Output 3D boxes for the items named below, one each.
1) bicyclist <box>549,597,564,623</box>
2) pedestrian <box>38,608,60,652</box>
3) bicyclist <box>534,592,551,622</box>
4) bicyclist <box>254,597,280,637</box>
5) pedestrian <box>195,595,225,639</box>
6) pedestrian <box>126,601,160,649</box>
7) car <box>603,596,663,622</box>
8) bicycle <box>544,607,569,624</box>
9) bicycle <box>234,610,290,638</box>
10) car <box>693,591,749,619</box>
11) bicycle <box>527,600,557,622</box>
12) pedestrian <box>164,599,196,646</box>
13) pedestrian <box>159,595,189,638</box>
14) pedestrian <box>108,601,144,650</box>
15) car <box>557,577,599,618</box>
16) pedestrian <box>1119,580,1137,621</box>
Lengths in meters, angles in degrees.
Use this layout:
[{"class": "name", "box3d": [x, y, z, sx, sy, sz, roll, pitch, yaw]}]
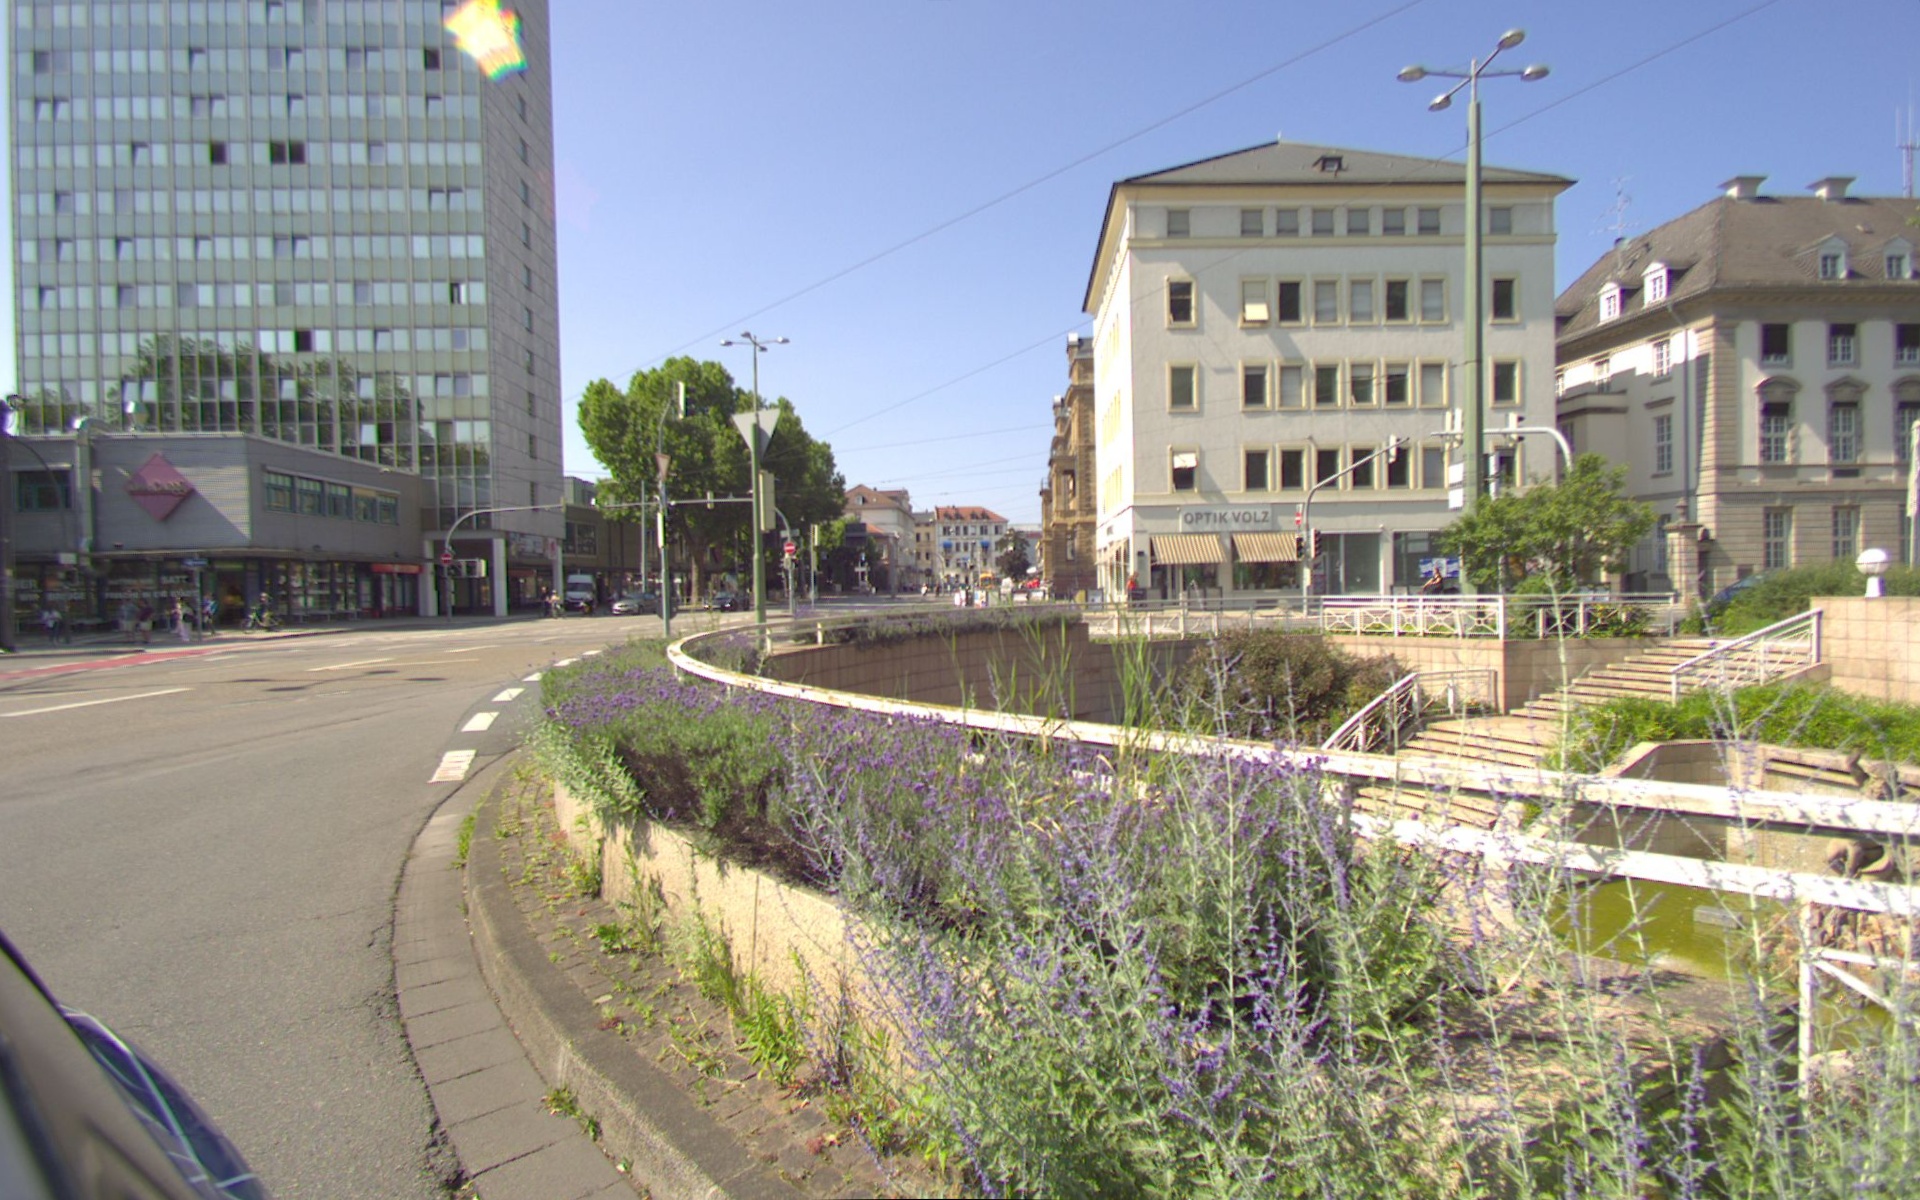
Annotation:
[{"class": "bicyclist", "box3d": [-23.996, 0.590, 60.135, 0.576, 1.538, 0.683, 0, 1, 7]}, {"class": "pedestrian", "box3d": [-35.367, 1.155, 39.297, 0.590, 1.650, 0.567, -1, 0, -38]}, {"class": "bicyclist", "box3d": [-25.498, 0.411, 61.822, 0.690, 1.781, 0.681, 0, 1, 14]}, {"class": "bicyclist", "box3d": [-29.870, 0.726, 43.618, 0.581, 1.700, 0.678, -1, 1, 27]}, {"class": "pedestrian", "box3d": [-31.896, 0.707, 43.043, 0.668, 1.850, 0.816, -1, 0, 27]}, {"class": "pedestrian", "box3d": [-31.860, 0.977, 39.485, 0.661, 1.850, 0.824, -1, 0, -4]}, {"class": "car", "box3d": [-20.270, 0.520, 62.957, 1.862, 1.471, 4.152, -1, 1, 9]}, {"class": "bicycle", "box3d": [-23.995, 0.916, 60.182, 0.586, 0.889, 1.807, 0, 1, 7]}, {"class": "bicycle", "box3d": [-29.950, 1.024, 43.449, 0.574, 1.110, 1.952, -1, 1, 26]}, {"class": "car", "box3d": [-14.286, 0.260, 60.690, 1.862, 1.545, 4.067, -1, 1, 9]}, {"class": "bicycle", "box3d": [-25.505, 0.644, 61.777, 0.709, 1.309, 1.932, 0, 1, 13]}, {"class": "pedestrian", "box3d": [-31.053, 0.889, 40.306, 0.661, 1.850, 0.824, -1, 0, -5]}, {"class": "pedestrian", "box3d": [-33.796, 0.710, 43.499, 0.668, 1.820, 0.815, -1, 0, 29]}, {"class": "pedestrian", "box3d": [-32.580, 0.989, 39.555, 0.724, 1.850, 0.824, -1, 0, -4]}, {"class": "car", "box3d": [-28.362, -0.211, 75.307, 1.721, 2.938, 4.642, -2, 1, -6]}, {"class": "pedestrian", "box3d": [7.204, 0.023, 43.366, 0.638, 1.772, 0.589, -1, 0, 26]}]
